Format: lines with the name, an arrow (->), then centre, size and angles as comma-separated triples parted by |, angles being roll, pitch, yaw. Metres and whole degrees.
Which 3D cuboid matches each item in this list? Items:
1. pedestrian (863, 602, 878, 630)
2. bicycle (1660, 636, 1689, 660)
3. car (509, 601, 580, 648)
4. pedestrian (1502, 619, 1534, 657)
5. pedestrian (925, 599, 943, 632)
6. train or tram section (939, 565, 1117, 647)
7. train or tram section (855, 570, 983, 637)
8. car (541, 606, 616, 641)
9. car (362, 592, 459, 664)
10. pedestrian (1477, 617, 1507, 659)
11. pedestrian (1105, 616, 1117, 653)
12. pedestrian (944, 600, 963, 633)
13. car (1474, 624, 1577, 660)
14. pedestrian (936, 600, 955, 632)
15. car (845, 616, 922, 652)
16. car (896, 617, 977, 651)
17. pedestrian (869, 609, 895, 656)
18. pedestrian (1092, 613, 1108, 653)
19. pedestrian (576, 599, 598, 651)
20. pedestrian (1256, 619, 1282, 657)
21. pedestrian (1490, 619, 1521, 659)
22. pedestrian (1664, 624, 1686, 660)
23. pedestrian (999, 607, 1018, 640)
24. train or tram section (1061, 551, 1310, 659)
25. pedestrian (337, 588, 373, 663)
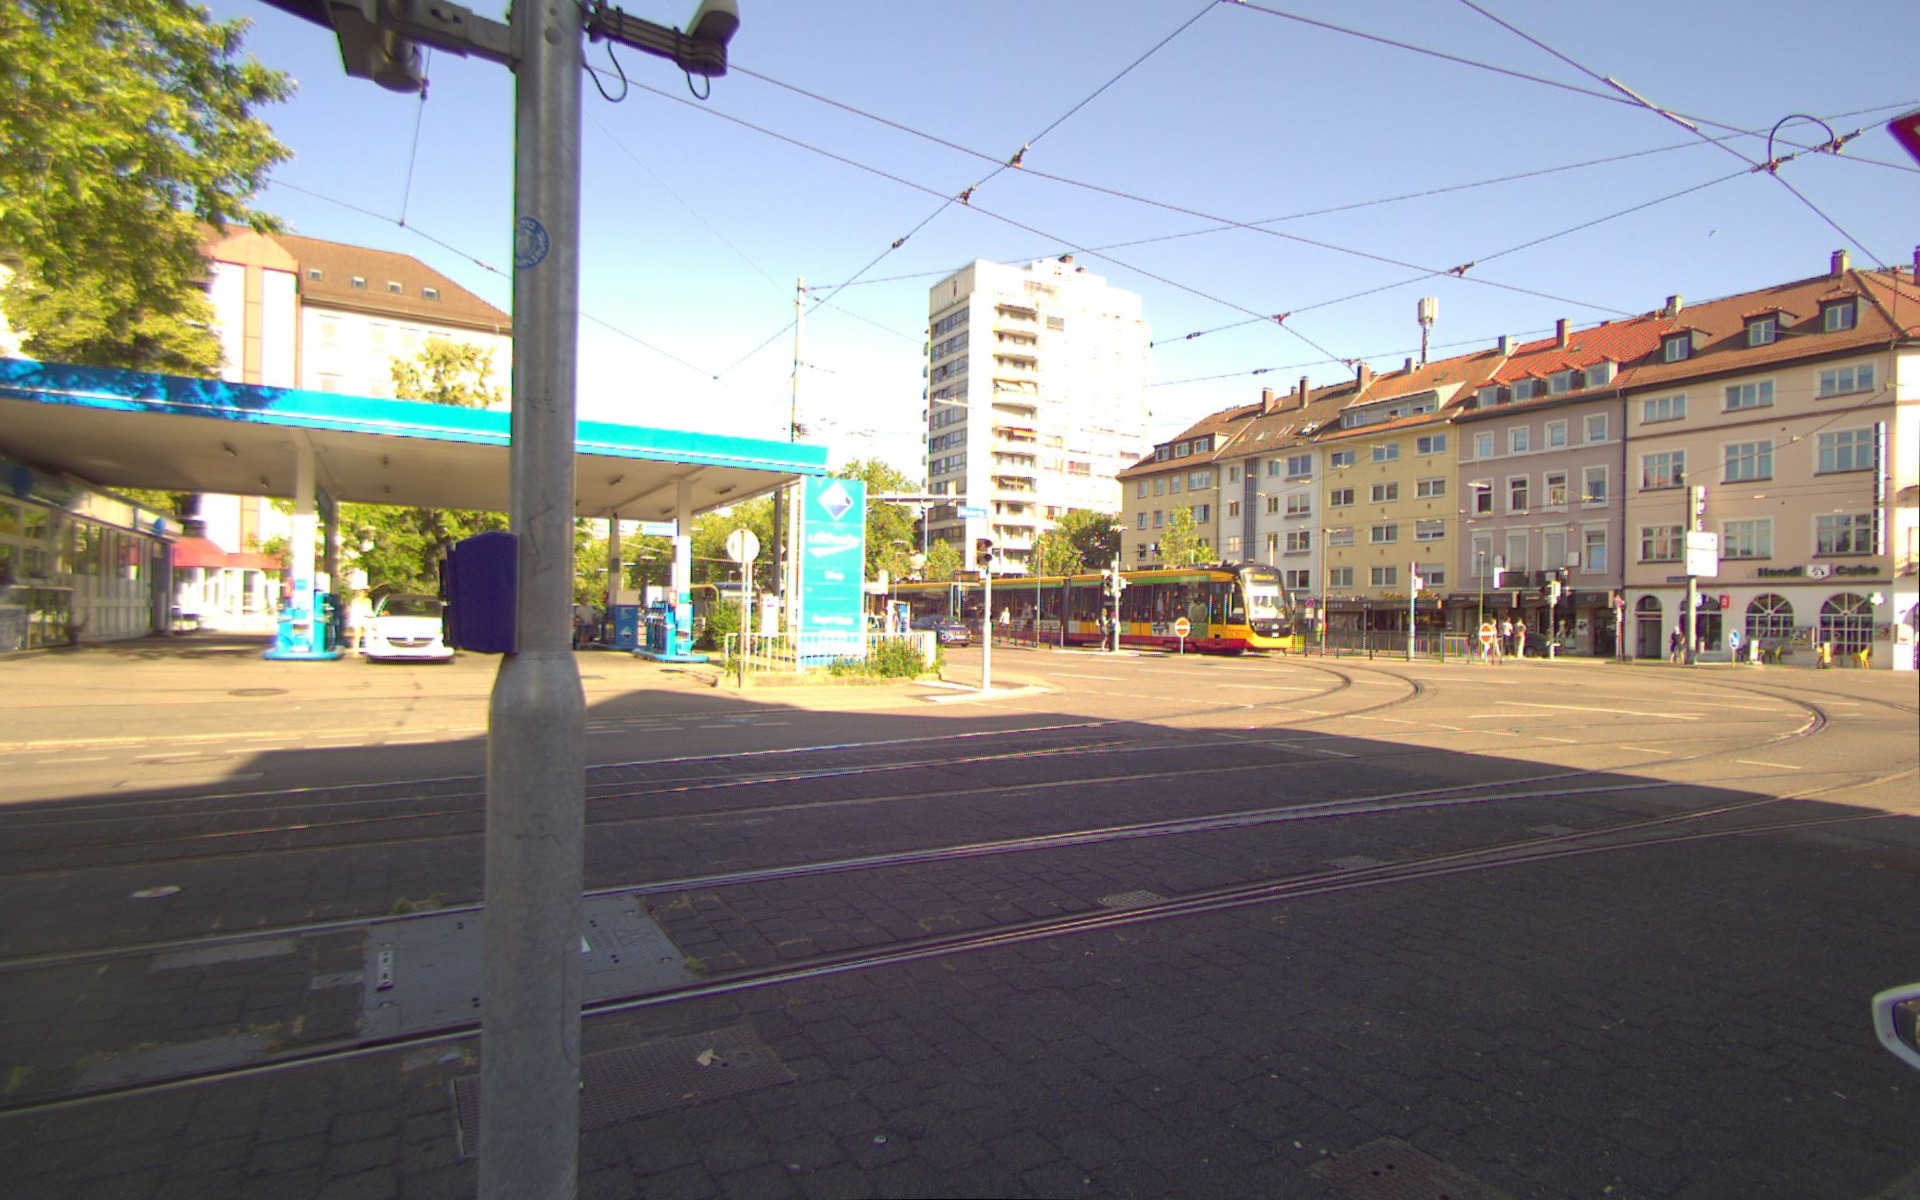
pedestrian -> -5.651, 1.017, 63.516 | 0.747, 1.756, 0.797 | 0, 0, -28
bicycle -> 34.163, 2.283, 48.032 | 1.479, 1.091, 0.570 | 2, 0, -30
car -> -13.556, 0.782, 32.682 | 1.737, 1.461, 3.543 | 1, -1, -29
pedestrian -> 24.446, 1.669, 44.016 | 0.821, 1.598, 0.847 | 2, 0, -20
pedestrian -> -1.435, 0.847, 55.411 | 0.747, 1.756, 0.797 | 0, 0, -28
train or tram section -> 3.197, 0.355, 53.499 | 2.907, 3.864, 12.719 | 1, -1, -30
train or tram section -> -2.909, 0.262, 64.207 | 2.907, 3.864, 12.024 | 1, -1, -30
car -> -16.868, 1.039, 44.607 | 1.722, 1.461, 3.572 | 1, -1, 5
car -> -12.206, 0.602, 22.356 | 1.737, 1.461, 3.543 | 1, -1, -29
pedestrian -> 20.535, 1.453, 38.809 | 0.817, 1.598, 0.552 | 2, 0, -2
pedestrian -> 6.146, 1.405, 40.971 | 0.472, 1.525, 0.462 | 0, 0, 6
pedestrian -> -0.343, 0.871, 53.601 | 0.747, 1.756, 0.797 | 0, 0, -28
car -> 30.818, 2.291, 54.849 | 2.277, 1.734, 4.350 | 2, 0, -27
pedestrian -> -0.800, 0.868, 55.635 | 0.747, 1.756, 0.797 | 0, 0, -28
car -> -3.595, 1.551, 46.742 | 1.871, 1.550, 3.963 | 1, -1, -33
car -> -1.168, 1.615, 48.372 | 1.875, 1.550, 3.955 | 1, -2, -39
pedestrian -> -2.864, 1.189, 36.839 | 0.752, 1.702, 0.555 | 1, -1, -33
pedestrian -> 5.848, 1.391, 41.970 | 0.626, 1.666, 0.462 | 0, 0, 6
pedestrian -> -12.329, 0.822, 33.169 | 0.493, 1.724, 0.497 | 0, -1, 43
pedestrian -> 13.117, 1.610, 42.619 | 0.867, 1.598, 0.665 | 2, 0, -2
pedestrian -> 22.362, 1.577, 41.216 | 0.821, 1.598, 0.724 | 2, 0, -20
pedestrian -> 34.186, 1.986, 48.039 | 0.743, 1.692, 0.579 | 2, 0, -30
pedestrian -> 2.364, 1.147, 48.997 | 0.607, 1.598, 0.827 | 0, 0, -27
train or tram section -> 8.839, 0.259, 42.225 | 2.902, 3.864, 12.972 | 1, -1, -25
pedestrian -> -14.113, 0.585, 23.456 | 0.640, 1.724, 0.497 | 1, -1, -26
